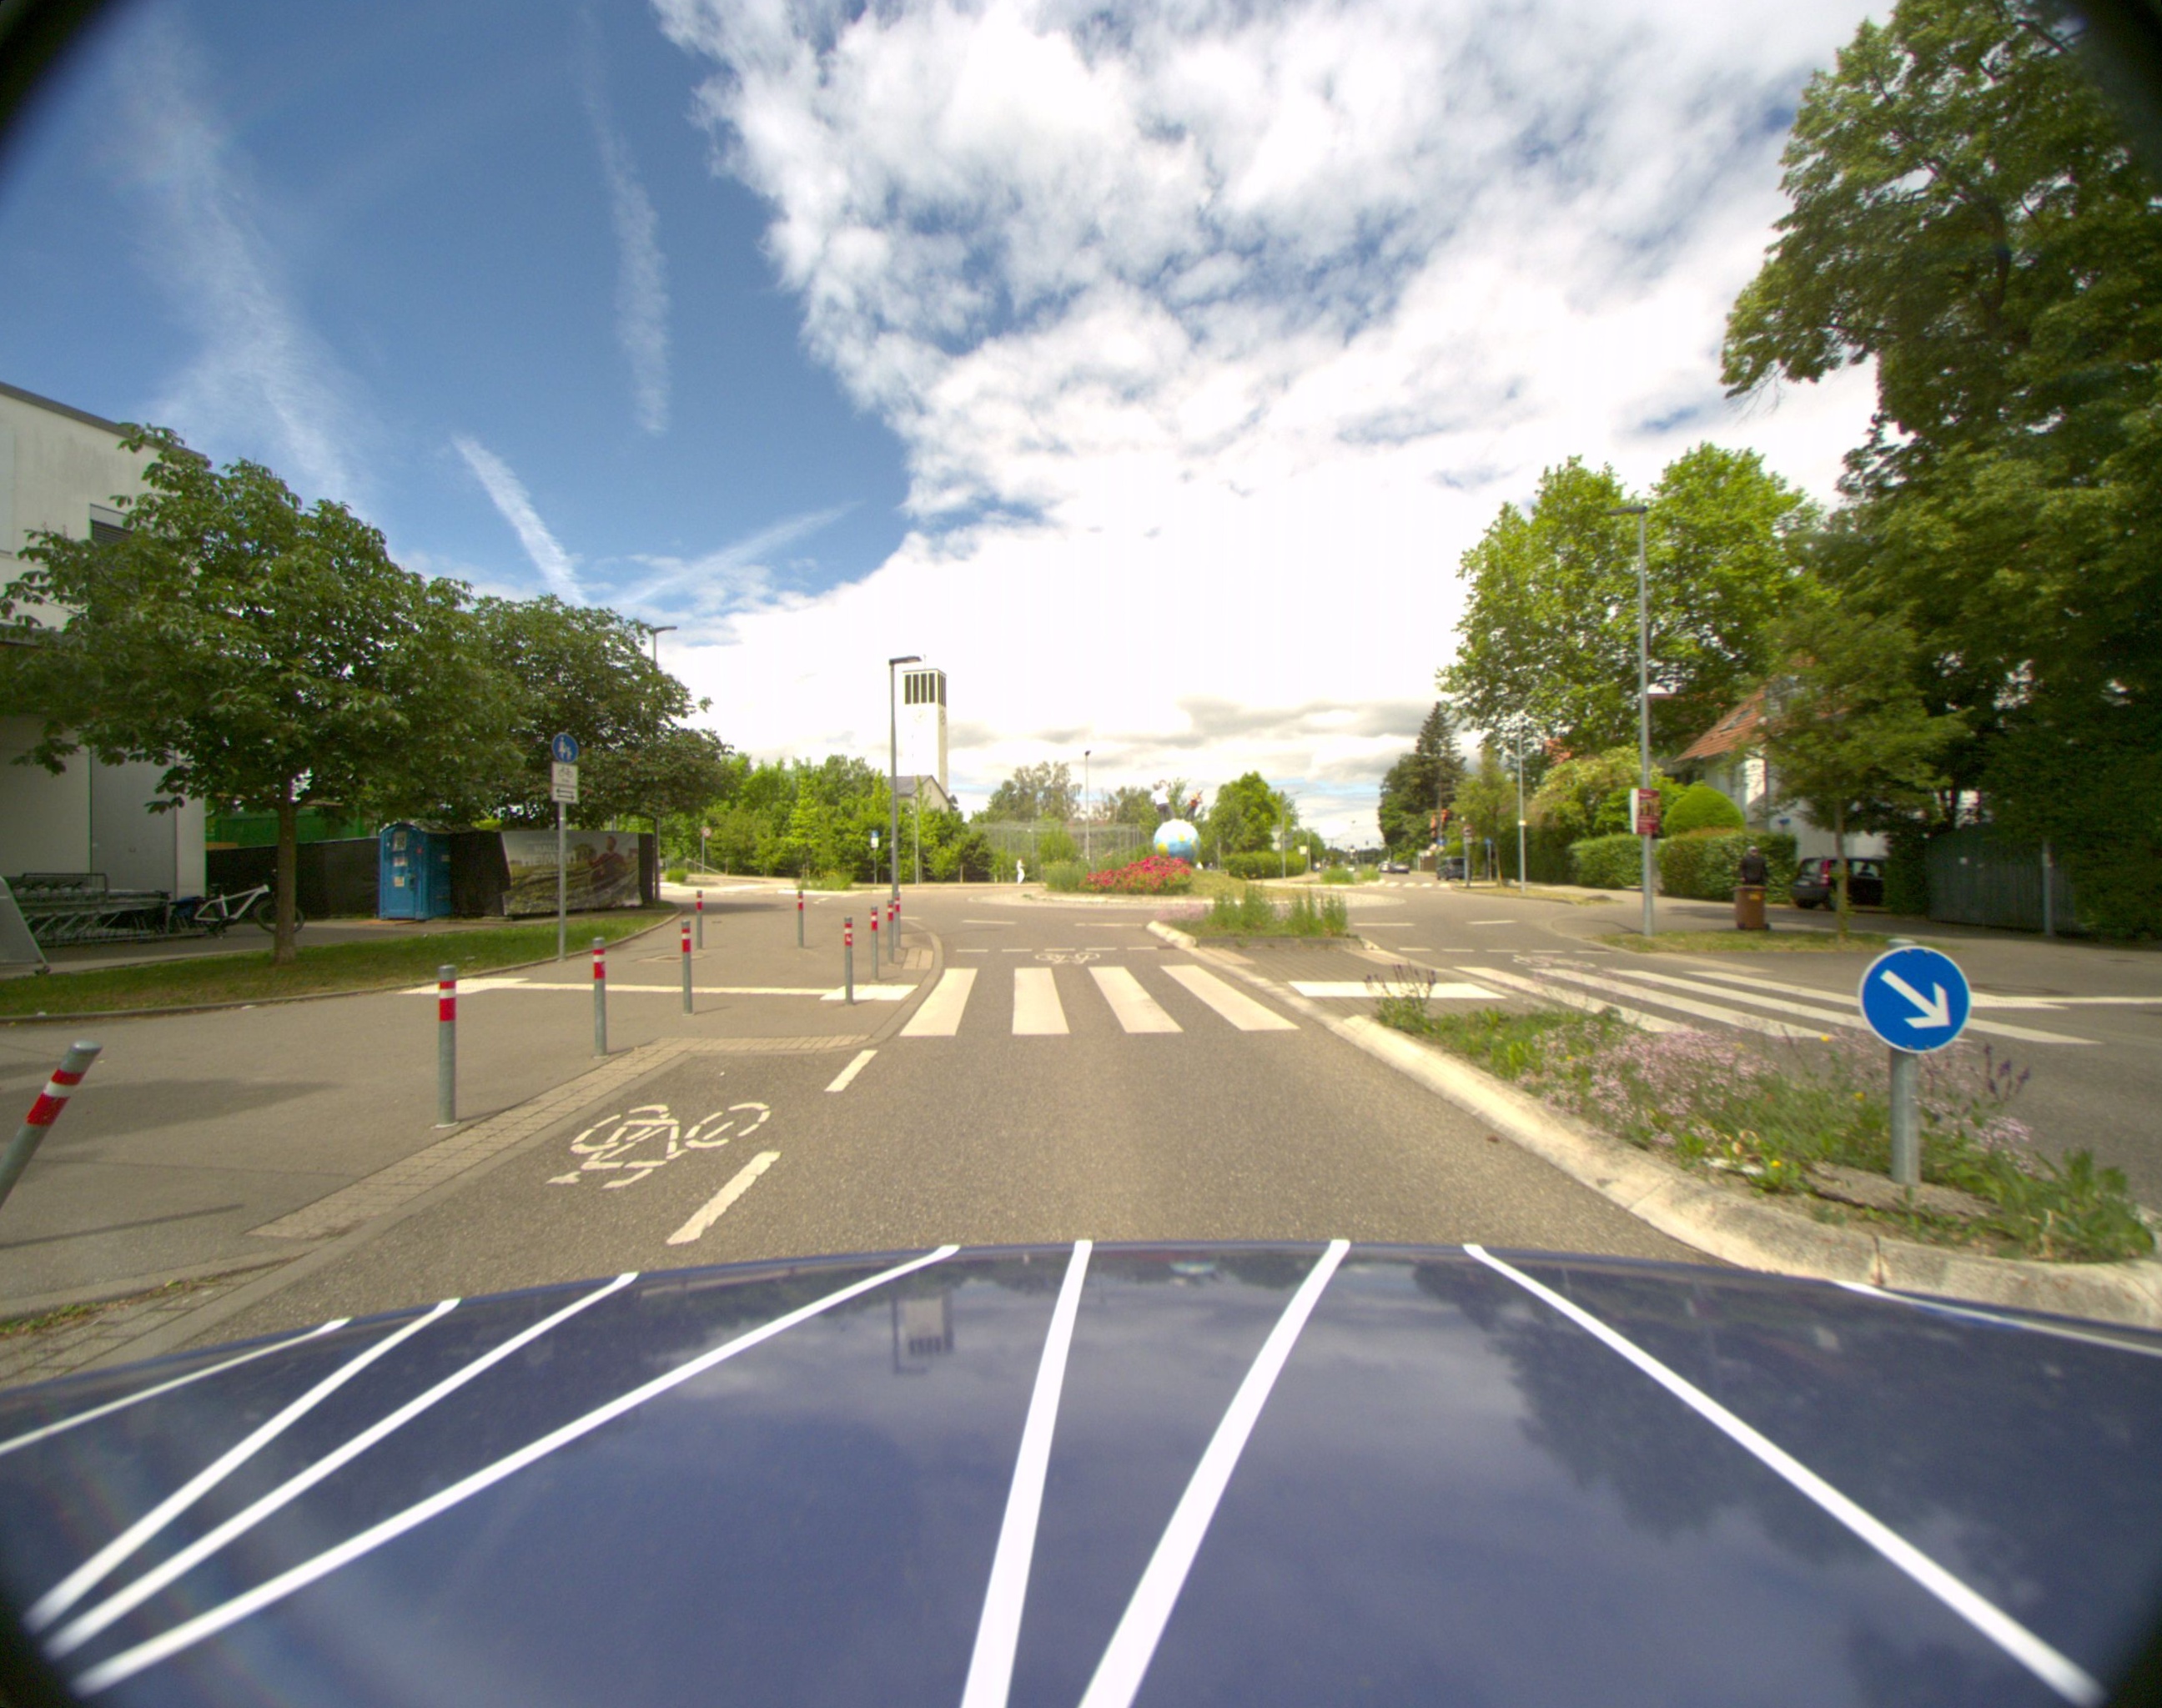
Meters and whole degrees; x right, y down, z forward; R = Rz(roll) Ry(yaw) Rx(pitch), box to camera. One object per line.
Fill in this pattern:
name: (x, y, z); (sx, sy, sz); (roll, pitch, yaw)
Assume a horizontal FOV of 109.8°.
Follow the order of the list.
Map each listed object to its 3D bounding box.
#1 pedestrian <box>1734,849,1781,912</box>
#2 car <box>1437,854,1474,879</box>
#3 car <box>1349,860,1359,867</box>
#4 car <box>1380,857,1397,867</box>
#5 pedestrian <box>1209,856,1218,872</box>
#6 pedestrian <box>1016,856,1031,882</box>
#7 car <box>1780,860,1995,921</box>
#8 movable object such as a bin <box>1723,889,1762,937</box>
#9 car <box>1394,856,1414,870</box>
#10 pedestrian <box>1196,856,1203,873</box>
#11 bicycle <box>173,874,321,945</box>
pedestrian: (18.698, 0.726, 21.023); (0.744, 1.681, 0.695); (-1, 1, 20)
car: (26.954, 0.869, 54.798); (1.678, 1.652, 4.004); (0, 0, 15)
car: (61.544, 2.154, 171.344); (1.995, 1.696, 4.006); (0, 0, 19)
car: (49.157, 1.265, 121.516); (1.996, 1.696, 4.004); (0, 0, 14)
pedestrian: (12.839, 0.966, 73.565); (0.764, 1.548, 0.602); (0, 1, 1)
pedestrian: (-3.467, 0.888, 45.778); (0.457, 1.524, 0.965); (-1, 0, 26)
car: (21.597, 0.924, 20.536); (3.570, 1.389, 1.668); (2, 1, 19)
movable object such as a bin: (13.359, 1.191, 15.348); (0.441, 0.929, 0.412); (0, 1, -9)
car: (39.092, 1.130, 92.021); (1.860, 1.568, 4.005); (-1, 0, 19)
pedestrian: (11.483, 1.013, 73.585); (0.607, 1.687, 0.567); (0, 0, -1)
bicycle: (-15.863, 1.037, 14.505); (1.774, 1.227, 0.714); (-2, 0, -15)
